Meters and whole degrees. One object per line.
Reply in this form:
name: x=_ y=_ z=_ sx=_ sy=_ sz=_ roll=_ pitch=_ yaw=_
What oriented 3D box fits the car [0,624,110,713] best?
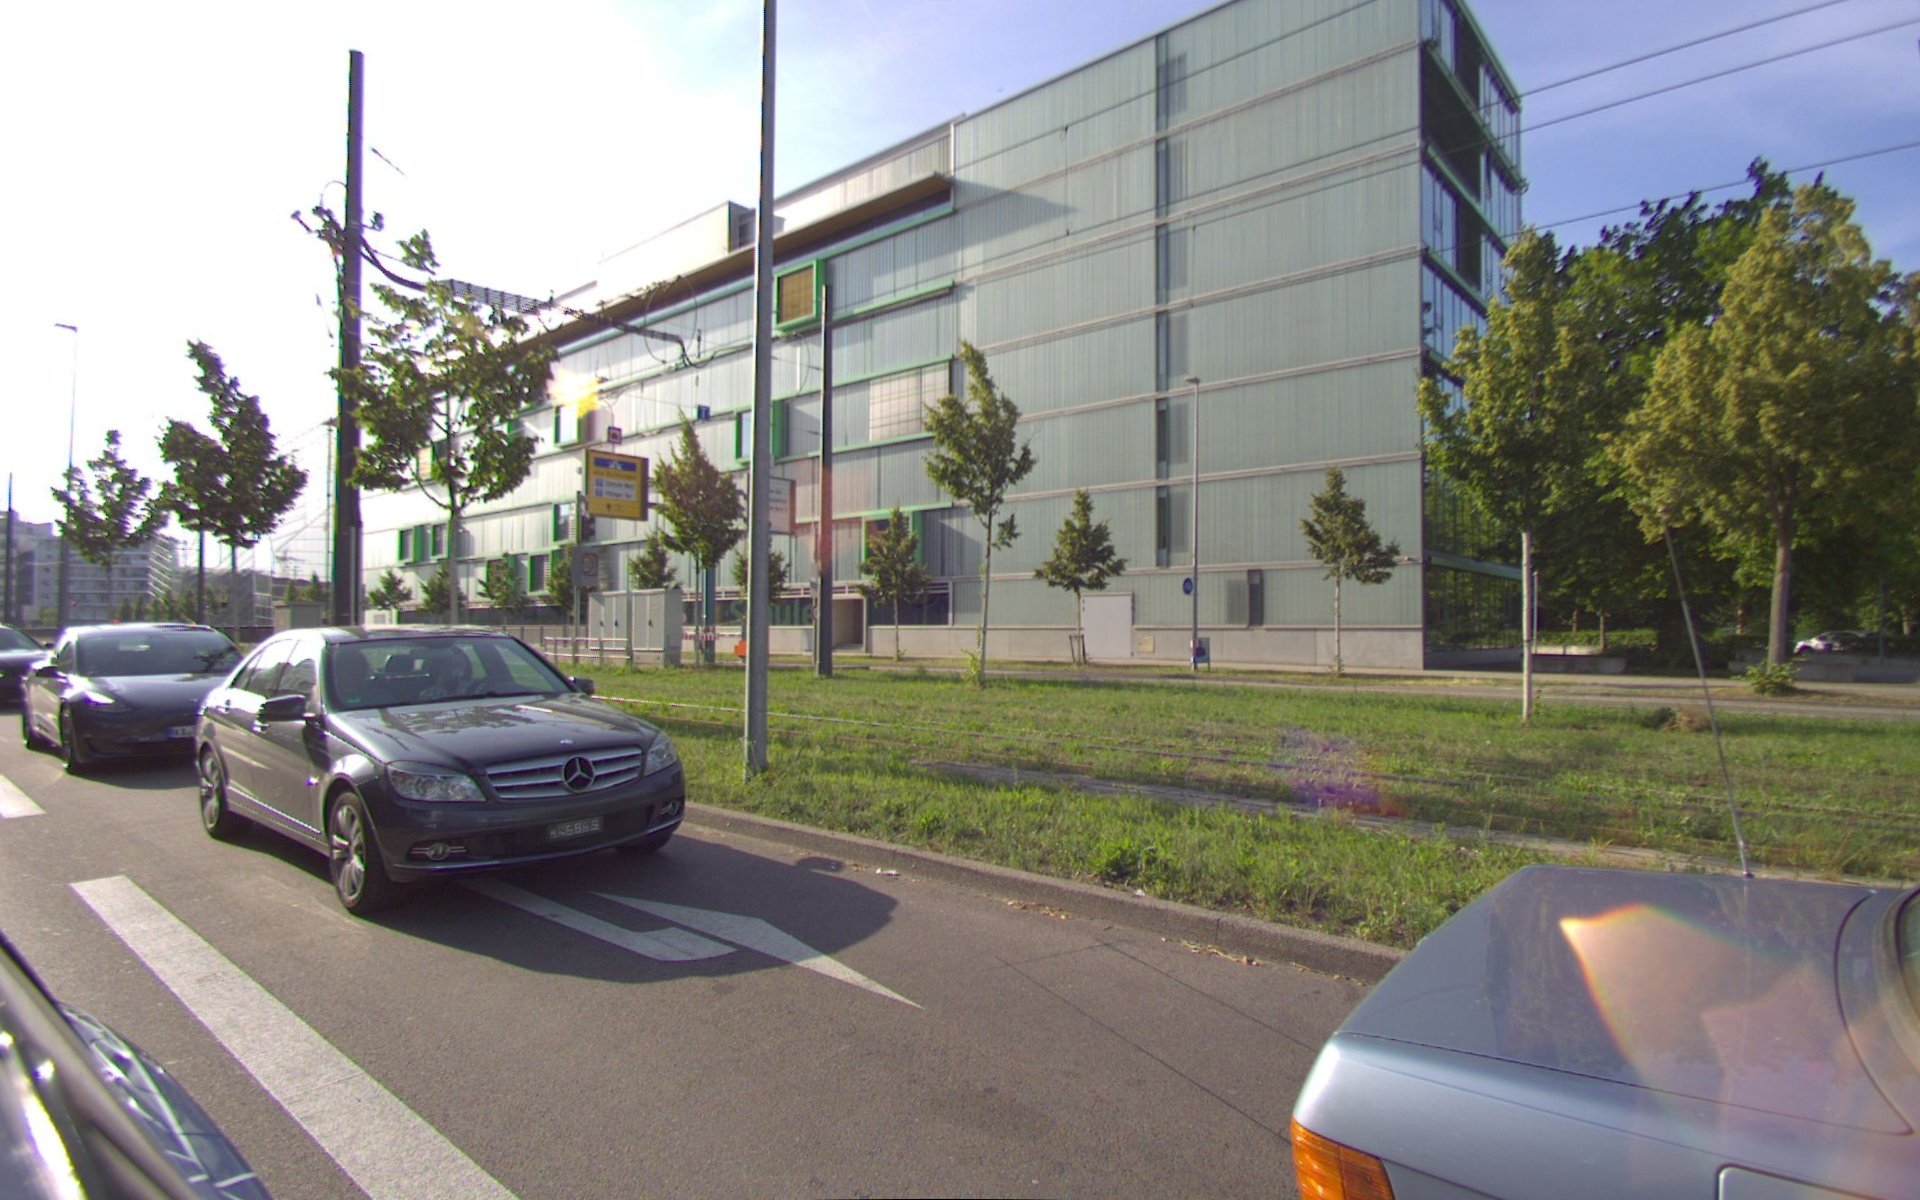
car: x=-17.576 y=1.207 z=18.070 sx=4.444 sy=1.437 sz=1.881 roll=-2 pitch=-1 yaw=23

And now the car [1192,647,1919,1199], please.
car: x=2.580 y=0.730 z=0.730 sx=4.397 sy=1.340 sz=1.745 roll=-2 pitch=-2 yaw=40

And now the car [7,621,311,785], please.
car: x=-8.867 y=0.981 z=11.061 sx=4.332 sy=1.396 sz=1.870 roll=-2 pitch=-1 yaw=41

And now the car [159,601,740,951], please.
car: x=-3.476 y=0.817 z=6.463 sx=4.350 sy=1.490 sz=1.768 roll=-2 pitch=-1 yaw=41

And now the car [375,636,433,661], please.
car: x=-36.475 y=3.156 z=66.368 sx=4.219 sy=1.539 sz=1.858 roll=-2 pitch=-3 yaw=39
